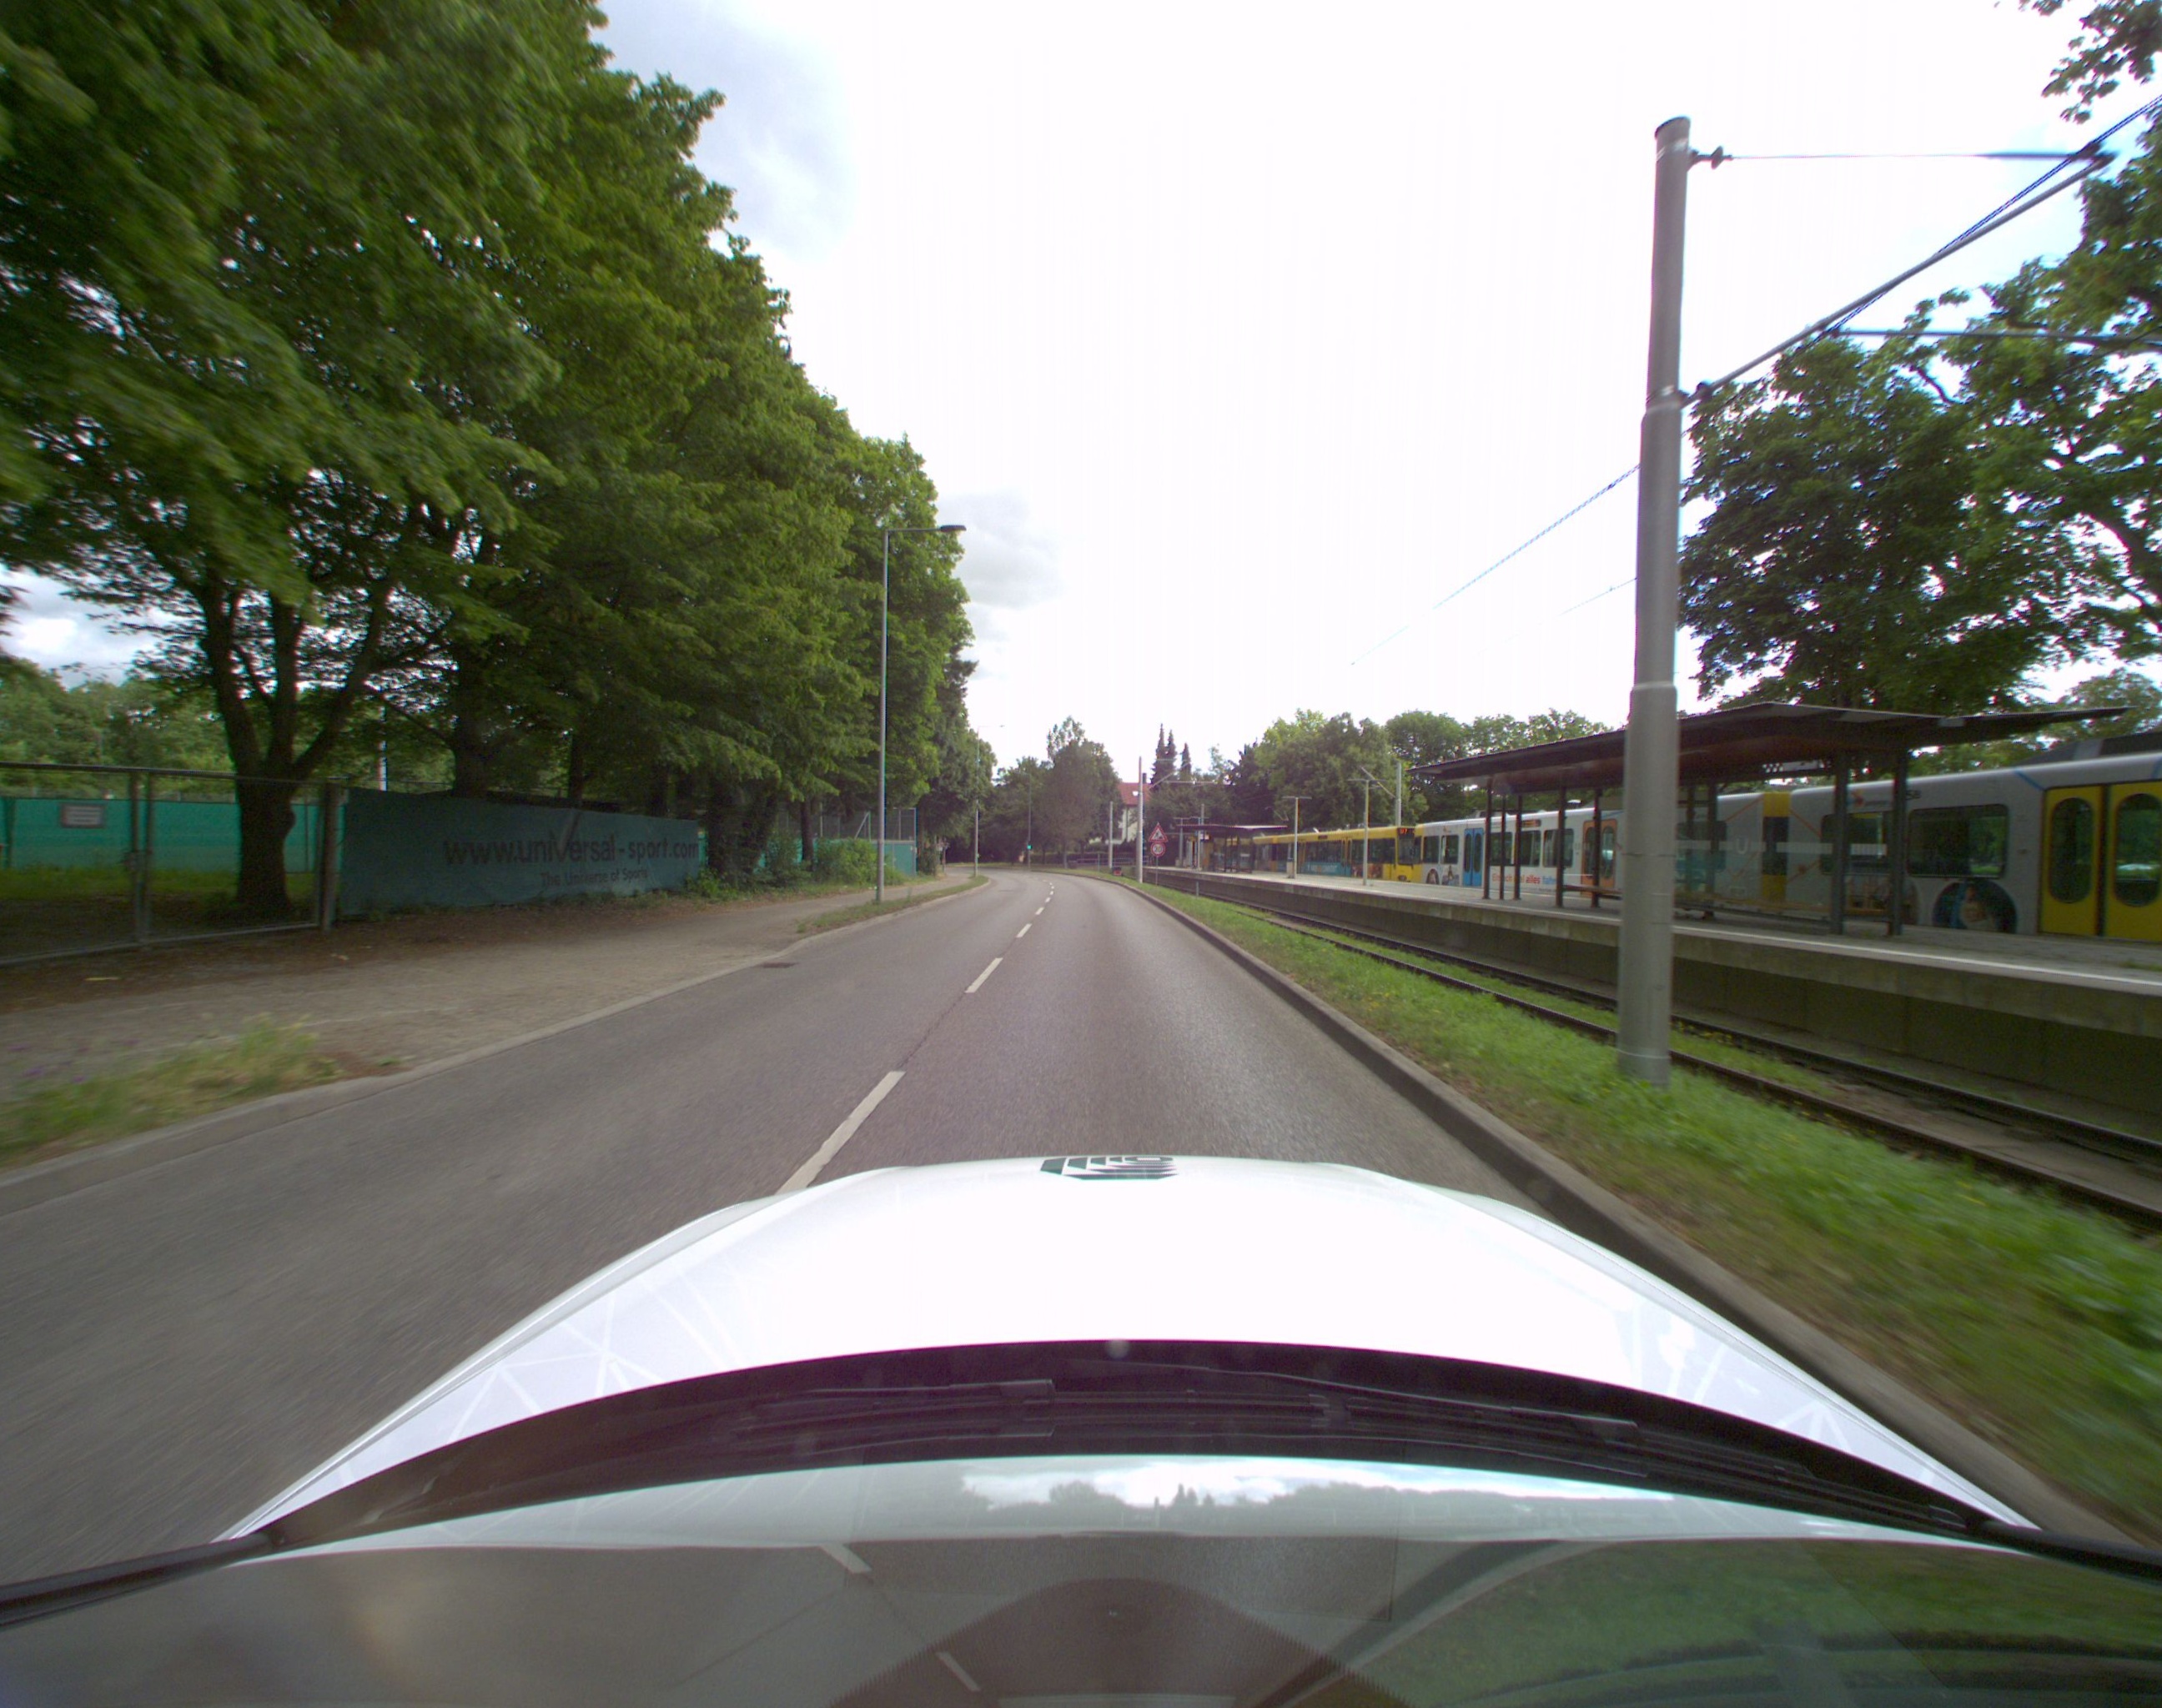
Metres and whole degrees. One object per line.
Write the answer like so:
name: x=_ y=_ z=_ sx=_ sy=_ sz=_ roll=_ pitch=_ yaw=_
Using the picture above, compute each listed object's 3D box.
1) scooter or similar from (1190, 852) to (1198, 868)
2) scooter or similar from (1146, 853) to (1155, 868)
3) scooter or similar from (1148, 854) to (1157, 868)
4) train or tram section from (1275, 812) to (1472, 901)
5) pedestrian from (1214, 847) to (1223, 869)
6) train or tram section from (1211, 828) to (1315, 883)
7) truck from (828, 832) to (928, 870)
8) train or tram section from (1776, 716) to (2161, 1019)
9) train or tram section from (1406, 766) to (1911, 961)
scooter or similar: x=8.713 y=0.458 z=62.936 sx=0.367 sy=1.242 sz=1.144 roll=0 pitch=0 yaw=-4
scooter or similar: x=6.229 y=0.589 z=72.774 sx=0.430 sy=1.253 sz=1.249 roll=-1 pitch=-2 yaw=-12
scooter or similar: x=6.583 y=0.607 z=75.150 sx=0.431 sy=1.253 sz=1.248 roll=0 pitch=-2 yaw=-16
train or tram section: x=14.877 y=0.065 z=44.596 sx=2.807 sy=3.737 sz=19.493 roll=2 pitch=0 yaw=-3
pedestrian: x=9.658 y=0.292 z=57.268 sx=0.618 sy=1.573 sz=0.667 roll=0 pitch=-1 yaw=13
train or tram section: x=13.747 y=0.078 z=64.175 sx=2.807 sy=3.588 sz=19.493 roll=2 pitch=0 yaw=-3
truck: x=-19.739 y=-0.224 z=79.326 sx=9.255 sy=3.532 sz=2.549 roll=0 pitch=-1 yaw=-18
train or tram section: x=14.476 y=0.202 z=6.732 sx=2.801 sy=3.737 sz=18.553 roll=2 pitch=0 yaw=4
train or tram section: x=15.255 y=0.158 z=25.658 sx=2.803 sy=3.798 sz=18.937 roll=2 pitch=0 yaw=1
